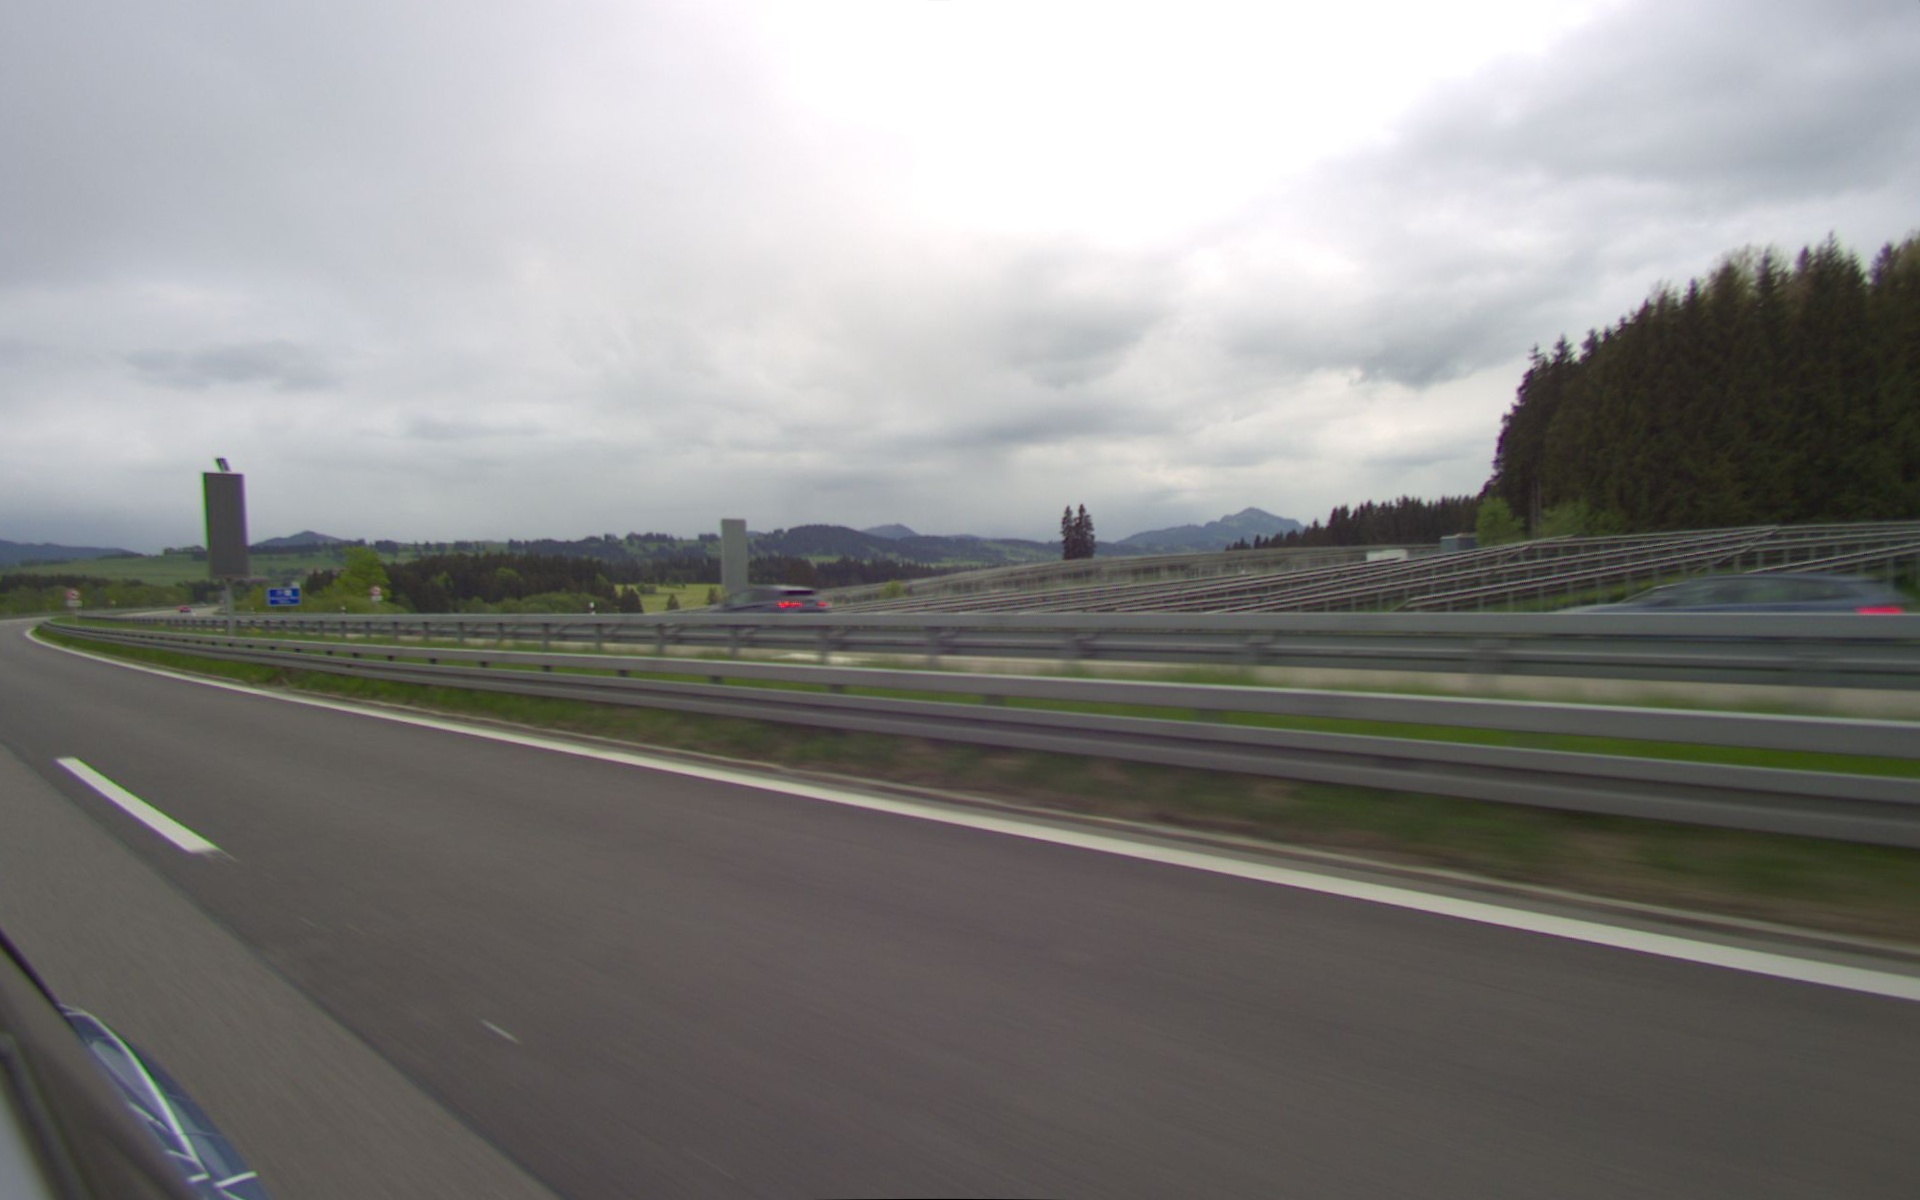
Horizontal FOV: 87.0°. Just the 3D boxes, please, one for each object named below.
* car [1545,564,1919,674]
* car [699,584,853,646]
[{"bbox_3d":[12.266,0.290,15.931,4.996,1.450,1.974,-2,2,40],"label":"car"},{"bbox_3d":[-4.930,0.389,26.835,4.000,1.428,1.972,-2,2,43],"label":"car"}]
